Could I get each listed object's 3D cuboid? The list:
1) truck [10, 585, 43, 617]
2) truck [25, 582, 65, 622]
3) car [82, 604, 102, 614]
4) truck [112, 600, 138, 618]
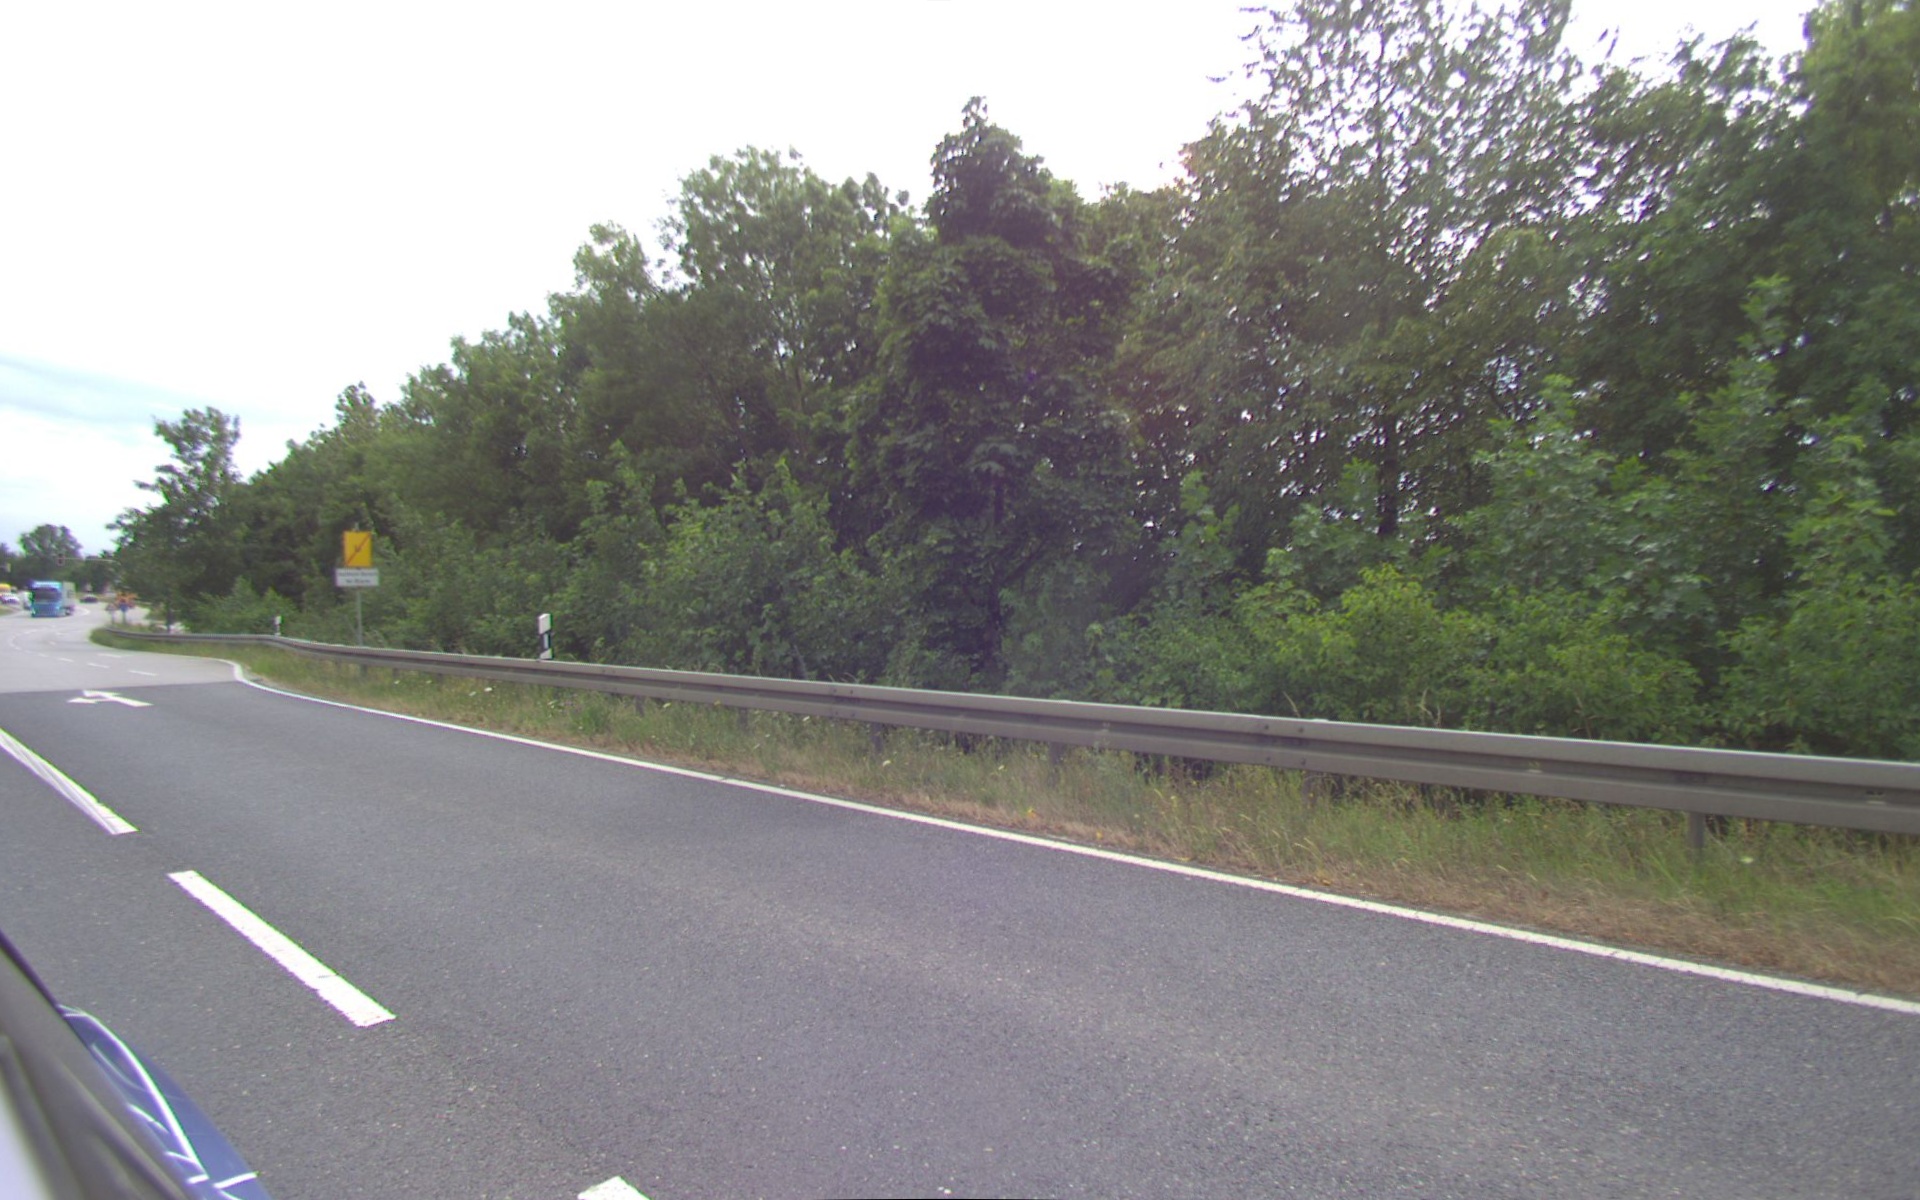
[{"bbox_3d":[-135.576,0.190,147.060,2.981,4.383,9.586,4,-3,-41],"label":"truck"},{"bbox_3d":[-105.095,0.232,116.358,2.981,4.383,9.586,4,-3,-41],"label":"truck"},{"bbox_3d":[-153.952,1.554,179.496,3.995,1.582,1.897,0,-2,39],"label":"car"},{"bbox_3d":[-129.887,1.422,157.473,6.024,2.621,2.290,0,-2,43],"label":"truck"}]
